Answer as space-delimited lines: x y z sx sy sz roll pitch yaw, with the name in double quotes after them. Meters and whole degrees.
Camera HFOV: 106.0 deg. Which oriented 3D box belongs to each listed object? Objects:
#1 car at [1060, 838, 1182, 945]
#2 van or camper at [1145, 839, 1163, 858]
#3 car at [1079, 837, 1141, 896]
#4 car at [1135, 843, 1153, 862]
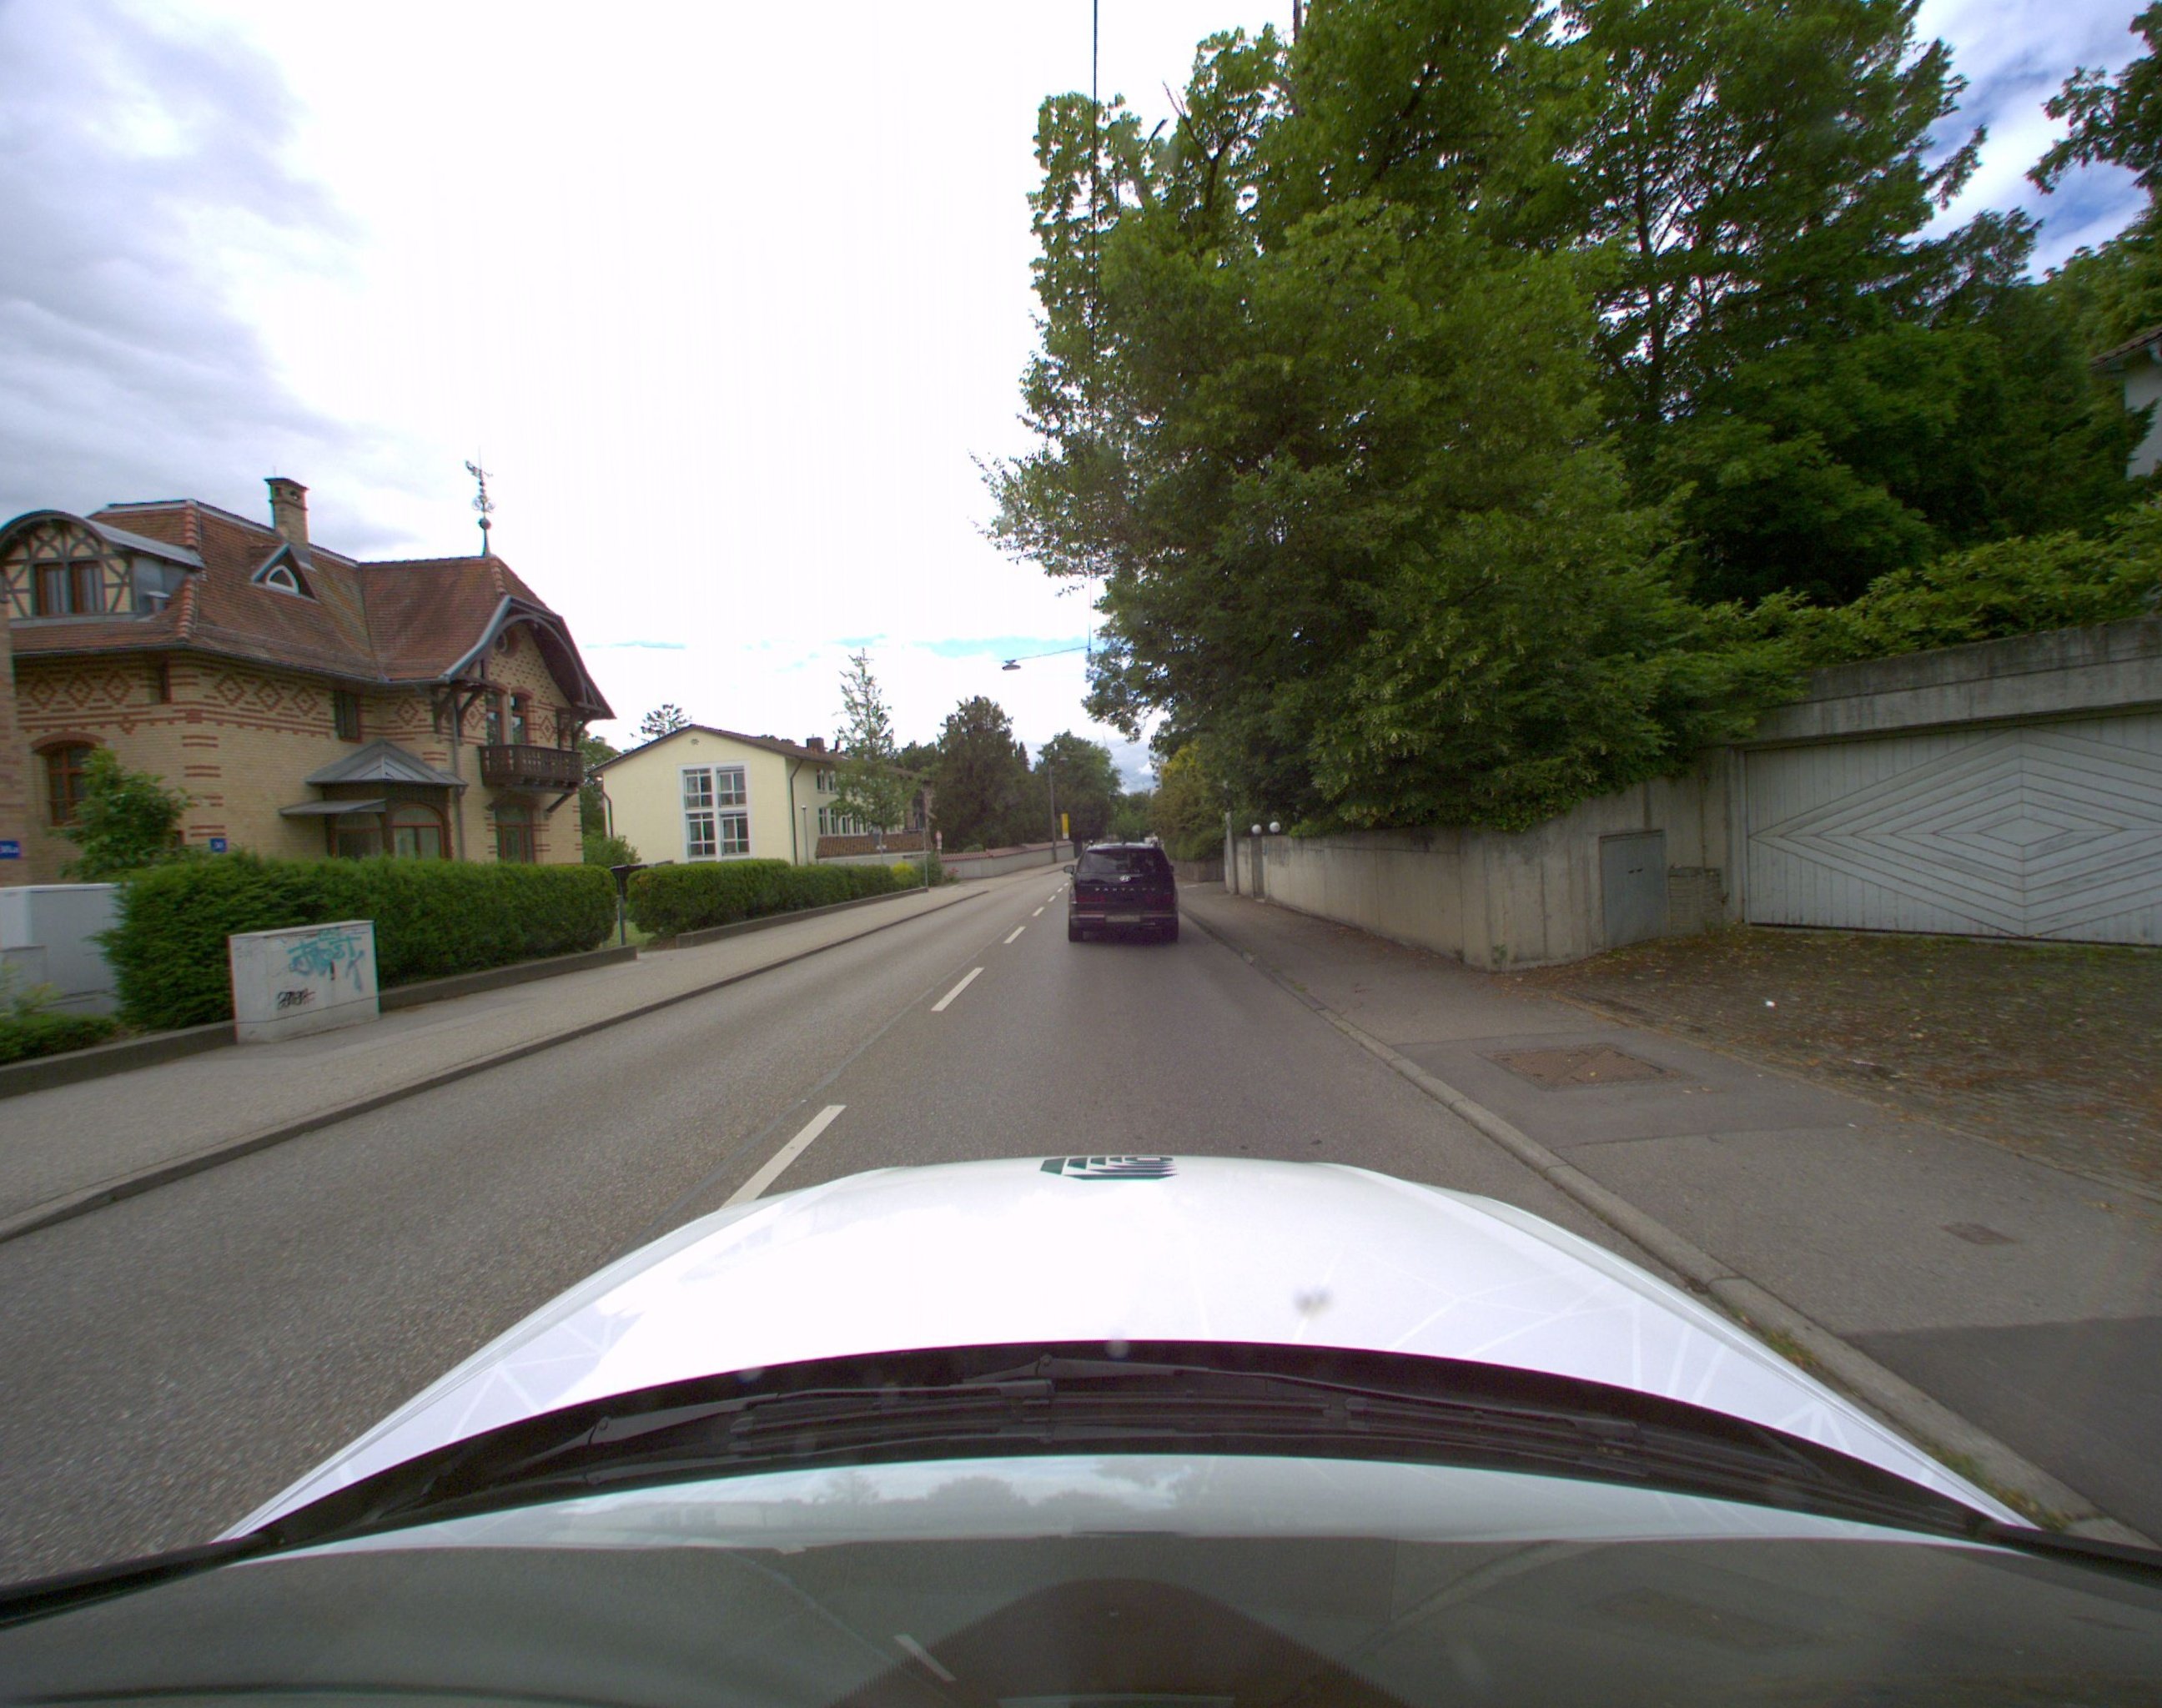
0.696 0.589 15.143 1.950 1.713 4.225 0 0 1 "car"
8.418 -0.670 94.044 1.665 2.007 3.949 -3 2 9 "van or camper"
1.162 0.383 30.273 1.947 1.955 4.232 0 2 7 "car"
6.282 -0.171 80.420 1.667 1.421 3.946 -3 6 5 "car"
